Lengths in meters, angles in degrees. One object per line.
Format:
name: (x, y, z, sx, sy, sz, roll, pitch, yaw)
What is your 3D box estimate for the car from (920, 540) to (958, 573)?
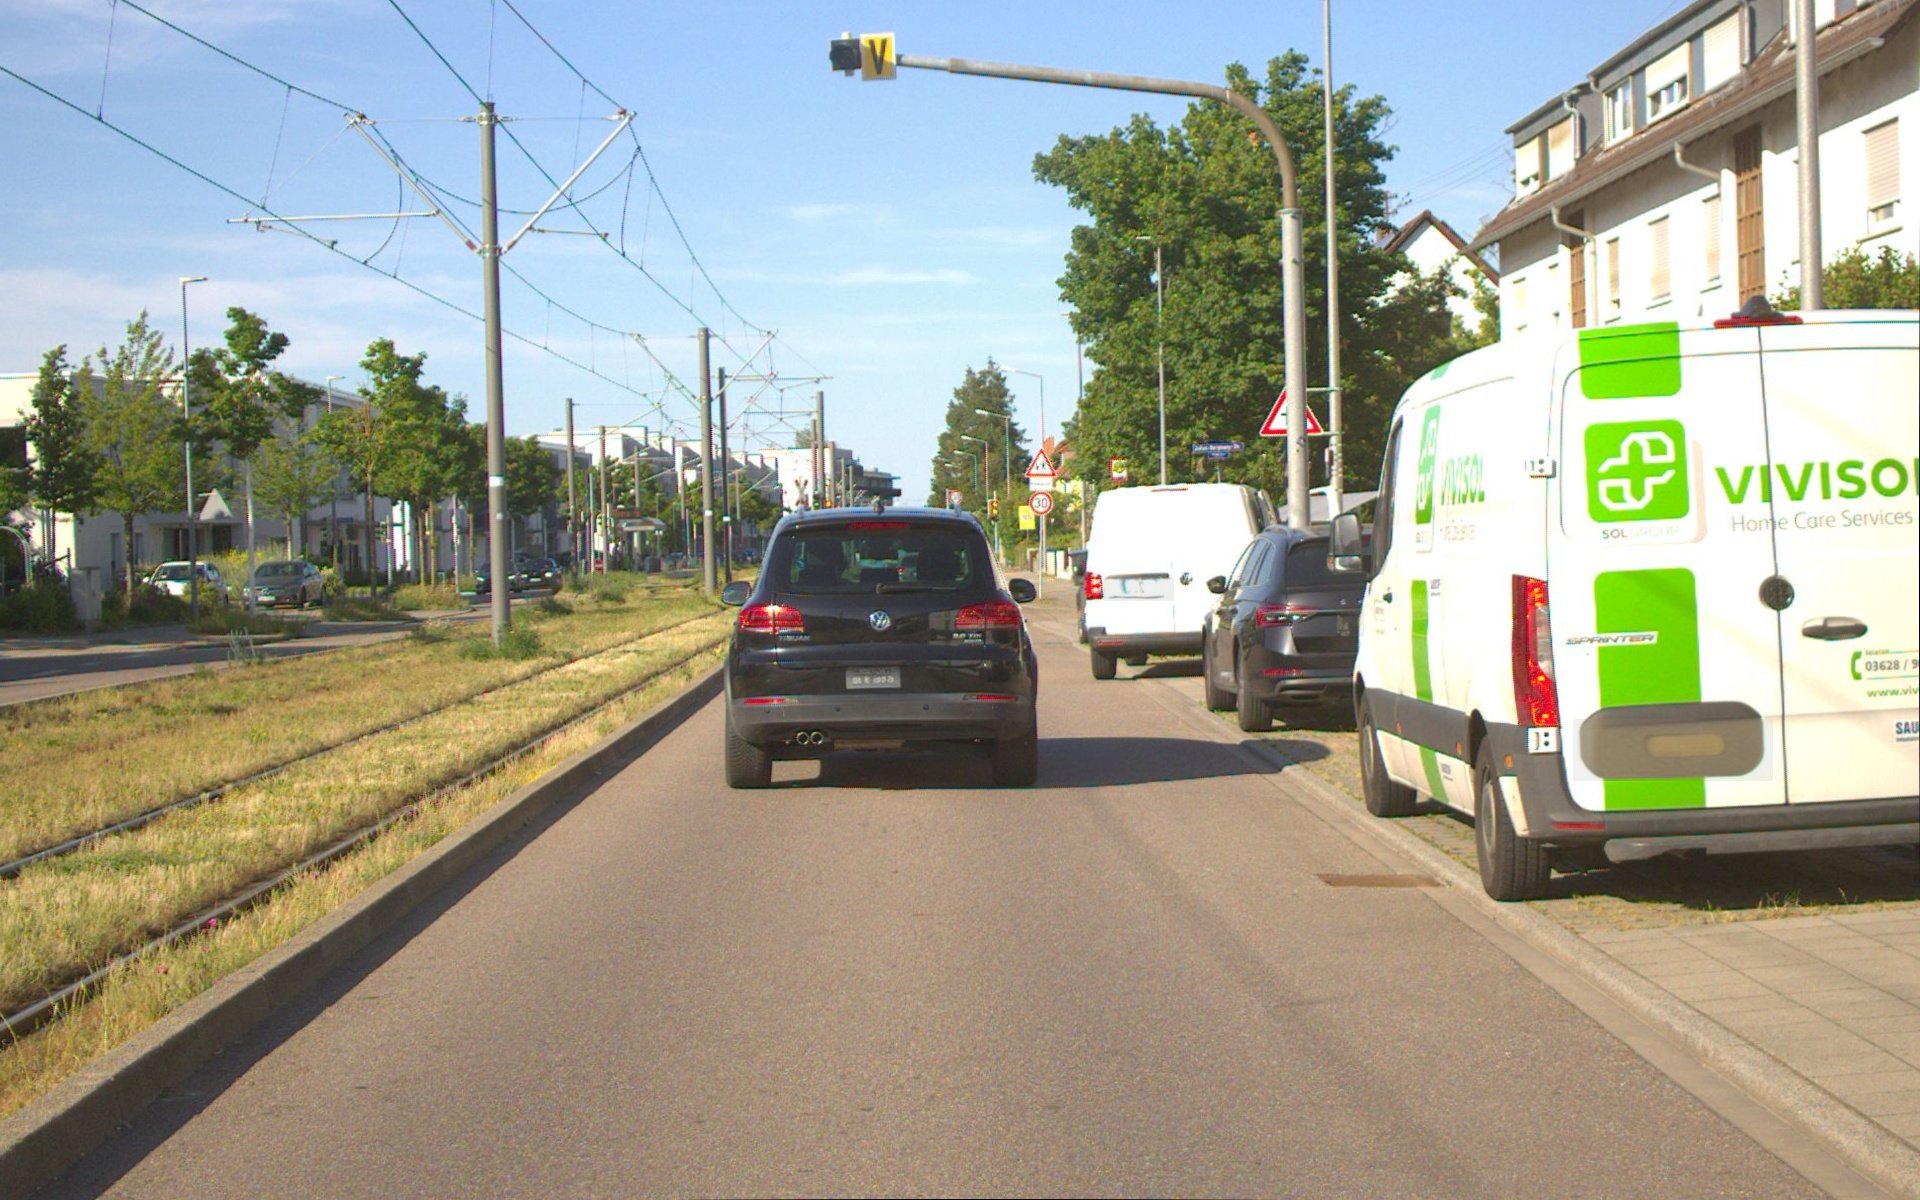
car: (-1.122, -2.301, 179.647, 1.775, 1.664, 4.001, -1, 1, -3)

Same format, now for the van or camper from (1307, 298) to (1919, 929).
van or camper: (3.005, -0.002, 15.880, 1.993, 2.263, 6.305, -3, 1, -1)

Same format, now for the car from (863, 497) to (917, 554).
car: (-3.244, -3.458, 160.970, 2.394, 2.556, 5.530, -1, 1, 0)

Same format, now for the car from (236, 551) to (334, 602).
car: (-19.980, -0.714, 101.914, 1.811, 1.456, 4.317, 0, 1, 4)

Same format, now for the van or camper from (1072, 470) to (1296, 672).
van or camper: (2.480, -0.352, 36.743, 2.028, 1.949, 5.294, -2, 1, 7)

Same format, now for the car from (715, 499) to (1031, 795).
car: (-0.584, 0.237, 21.354, 1.775, 1.664, 4.001, 0, 1, -3)

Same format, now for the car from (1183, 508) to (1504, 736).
car: (2.809, 0.116, 26.226, 1.748, 1.489, 5.155, -3, 1, -1)

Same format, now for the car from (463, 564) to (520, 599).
car: (-19.847, -0.795, 145.907, 1.688, 1.384, 4.388, -3, 1, 1)

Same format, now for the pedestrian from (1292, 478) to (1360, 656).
pedestrian: (3.962, -0.362, 37.171, 0.699, 1.905, 0.758, 0, 1, 8)

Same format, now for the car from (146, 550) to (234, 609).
car: (-19.840, -0.545, 88.708, 1.544, 1.486, 3.776, 0, 1, -2)

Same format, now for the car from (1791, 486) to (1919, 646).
car: (10.648, -0.379, 33.211, 4.711, 1.472, 1.907, -2, 0, -2)

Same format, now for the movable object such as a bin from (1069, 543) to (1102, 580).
movable object such as a bin: (3.869, -1.189, 105.748, 0.976, 1.107, 1.170, -2, 1, 3)
